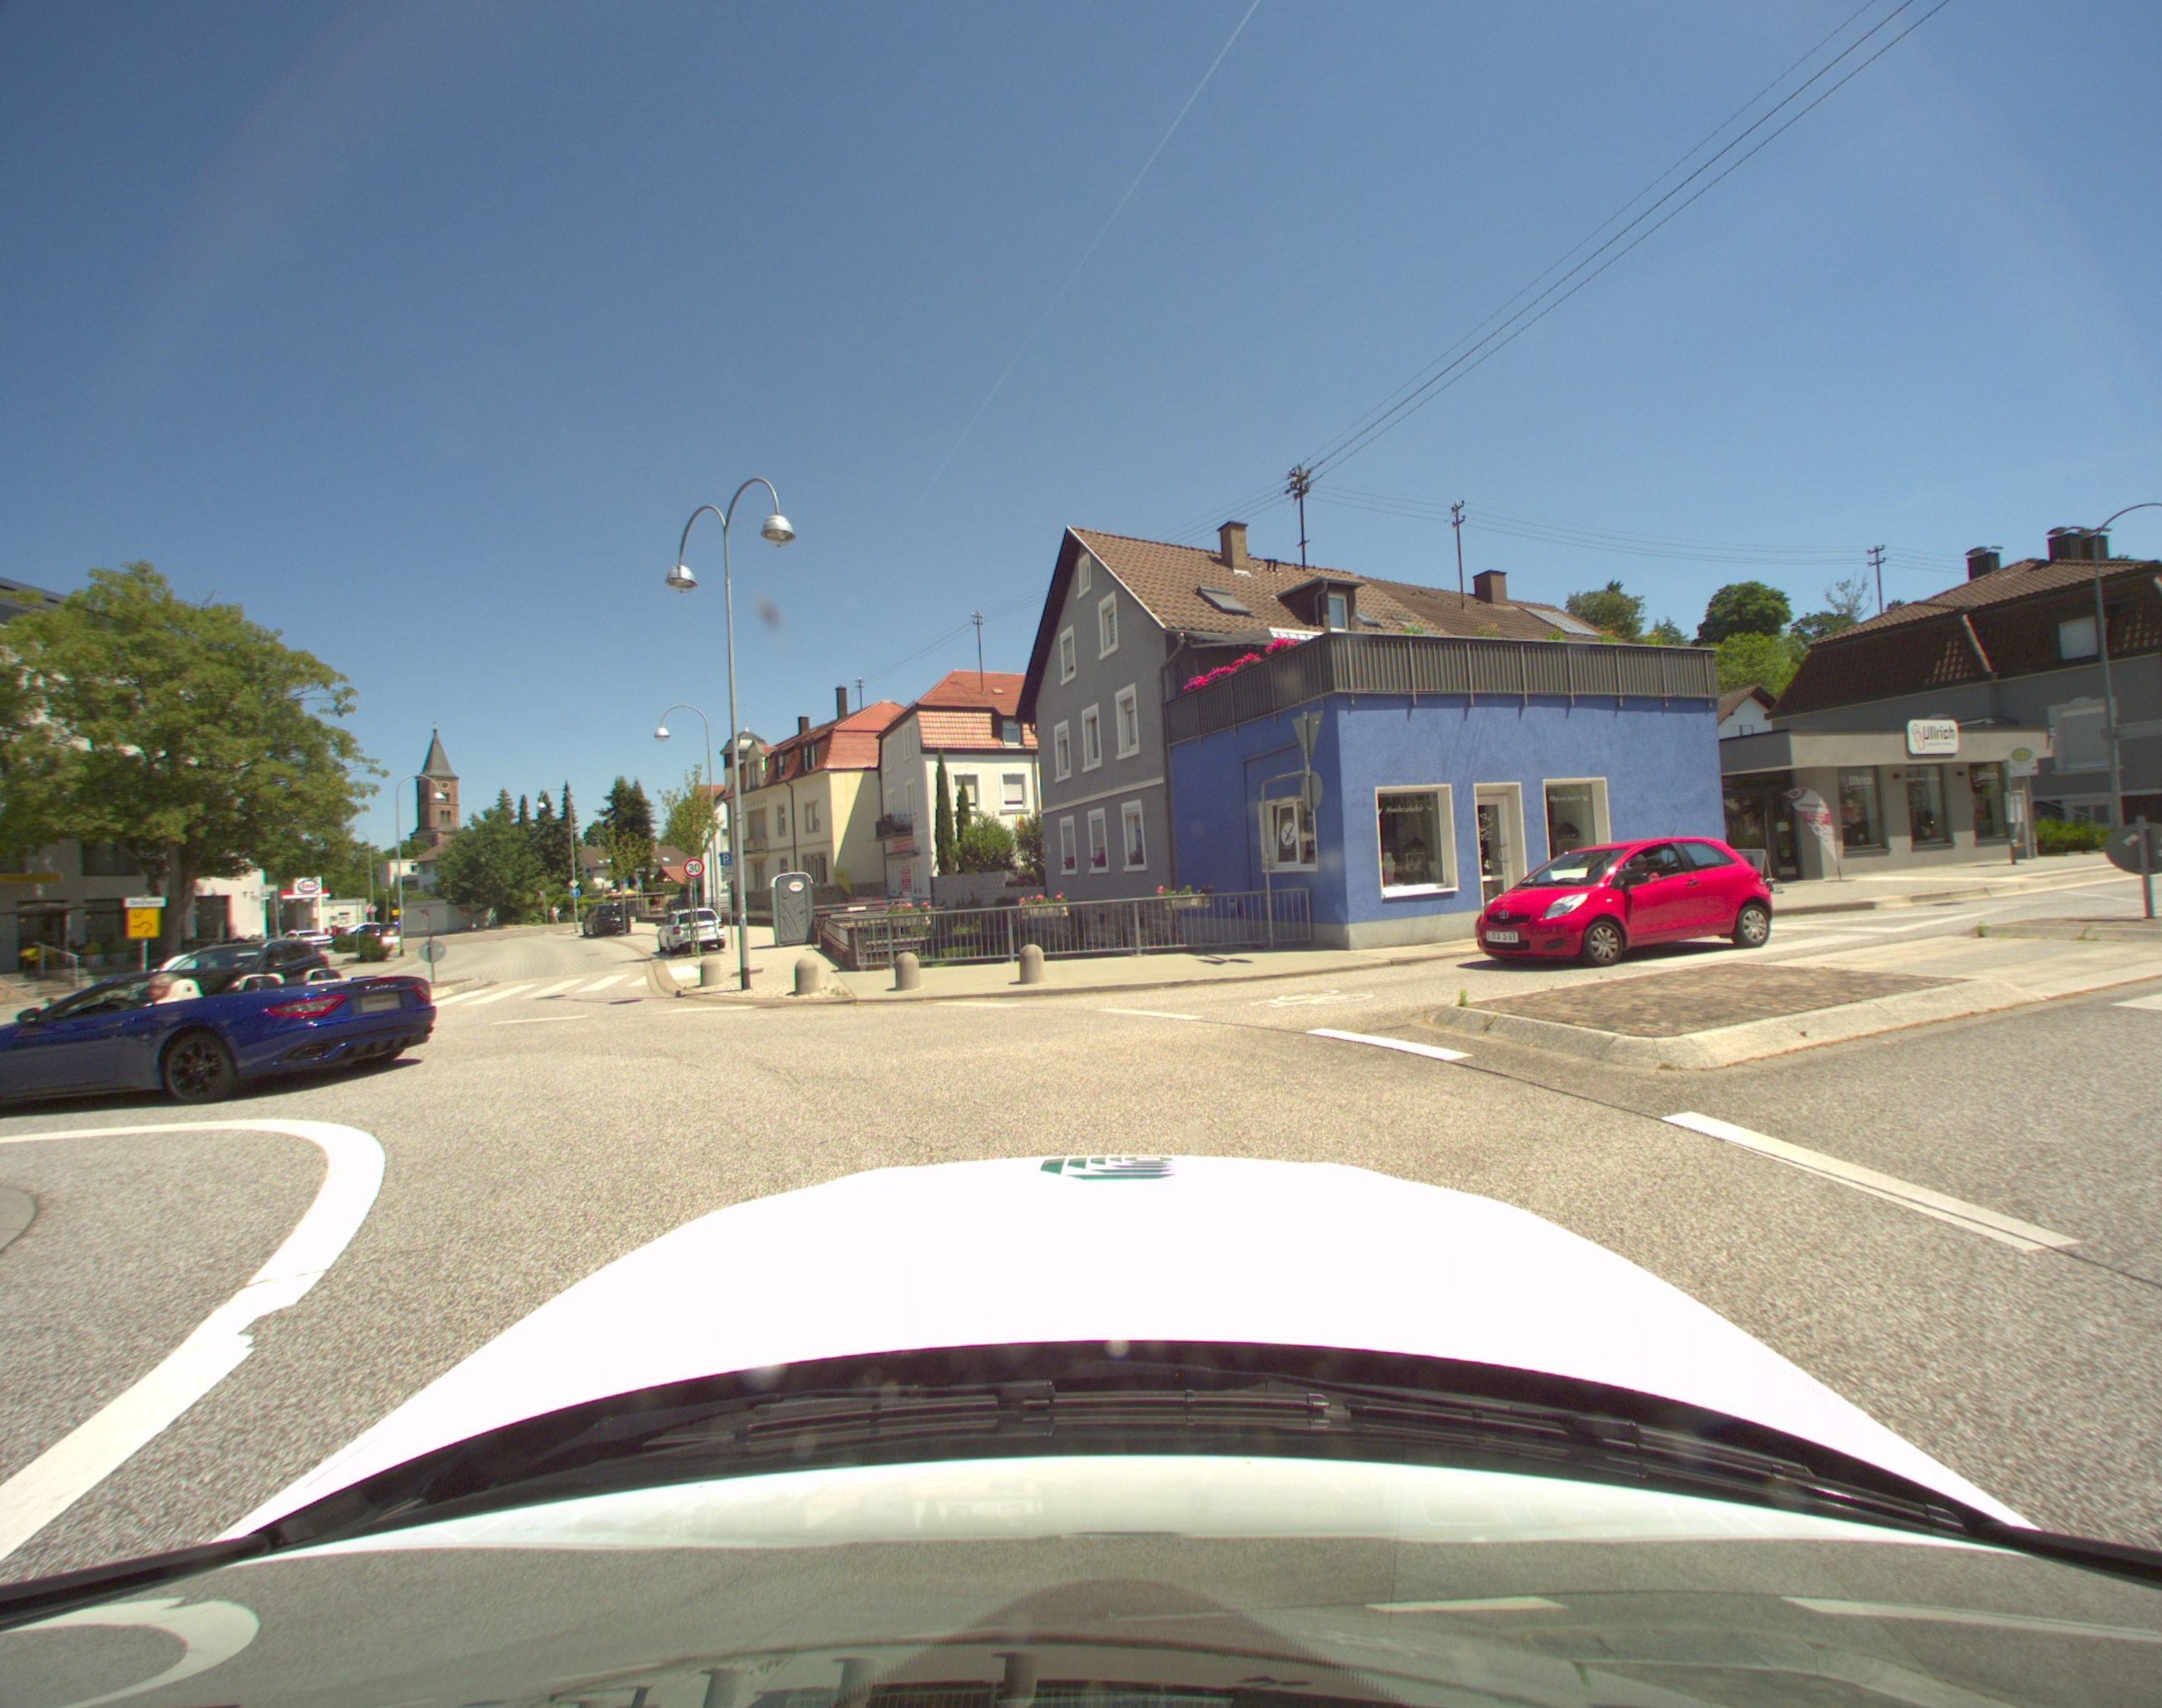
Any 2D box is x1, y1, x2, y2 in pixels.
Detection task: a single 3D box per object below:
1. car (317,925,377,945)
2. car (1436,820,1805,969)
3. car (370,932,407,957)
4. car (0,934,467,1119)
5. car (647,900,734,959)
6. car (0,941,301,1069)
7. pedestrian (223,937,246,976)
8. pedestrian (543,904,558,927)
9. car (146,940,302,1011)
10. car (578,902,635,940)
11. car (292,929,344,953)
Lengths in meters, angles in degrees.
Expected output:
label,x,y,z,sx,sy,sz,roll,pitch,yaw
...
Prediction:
label,x,y,z,sx,sy,sz,roll,pitch,yaw
car,-74.305,8.197,82.547,1.978,1.651,4.017,-2,0,17
car,7.110,0.517,10.871,3.995,1.533,1.824,-4,-4,-16
car,-55.681,7.233,65.491,2.011,1.688,4.471,-3,-1,-43
car,-9.654,1.840,8.865,4.587,1.398,1.986,-6,-3,7
car,-13.639,2.574,28.325,2.009,1.584,4.241,-8,1,-34
car,-18.065,2.802,16.123,2.000,1.688,4.496,-5,-1,-19
pedestrian,-34.851,4.208,33.526,0.535,1.485,0.549,-3,-2,-39
pedestrian,-43.824,5.088,67.231,0.542,1.814,0.850,-2,-1,24
car,-25.632,3.567,24.552,1.804,1.590,3.968,-1,-2,-23
car,-27.325,3.812,46.843,2.011,1.865,4.236,-1,-1,-41
car,-58.525,6.668,62.427,3.948,1.574,1.849,-4,0,31
